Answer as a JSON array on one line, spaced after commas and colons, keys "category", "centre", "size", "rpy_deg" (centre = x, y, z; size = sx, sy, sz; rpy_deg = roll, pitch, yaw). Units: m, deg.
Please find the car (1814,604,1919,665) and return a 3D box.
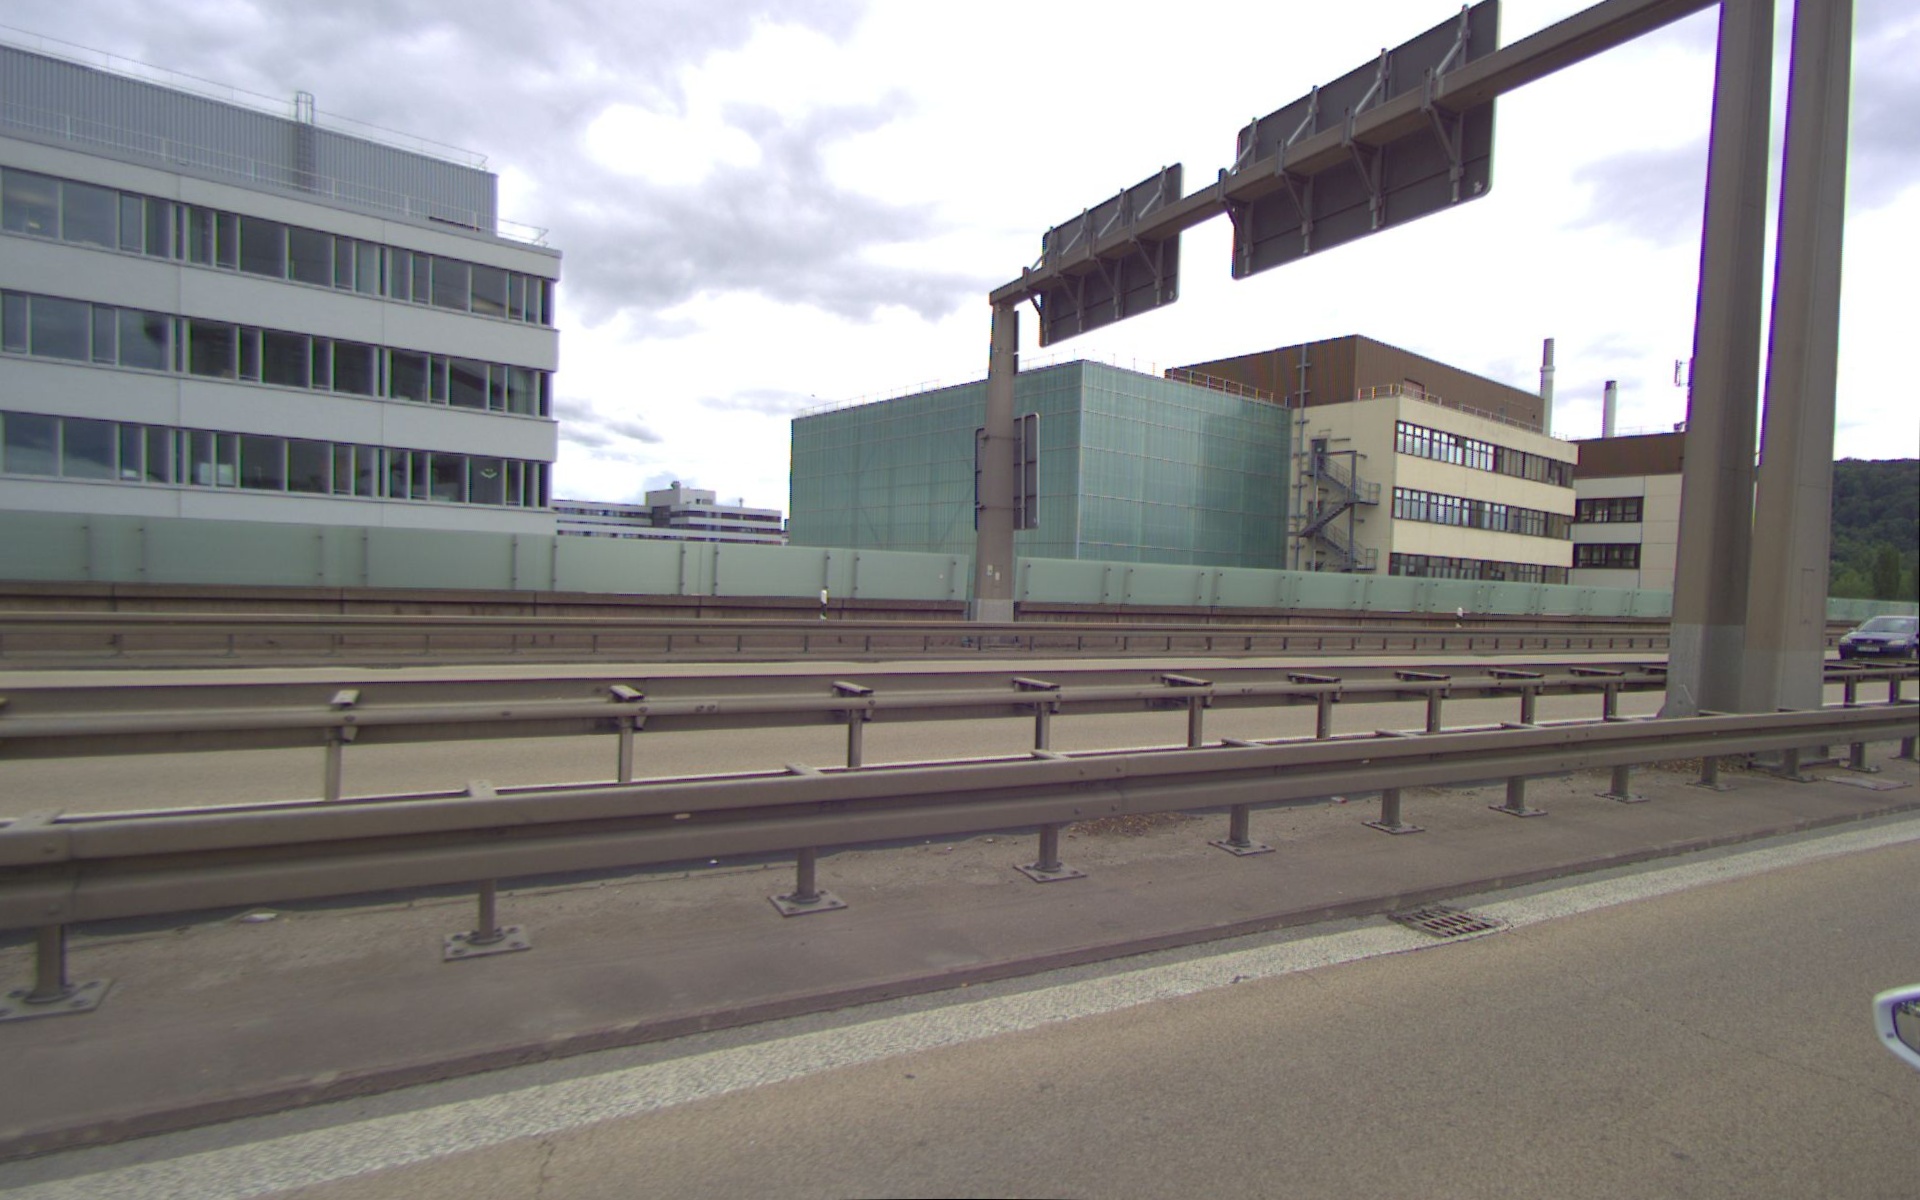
[{"category": "car", "centre": [28.098, 1.035, 30.486], "size": [4.357, 1.697, 1.984], "rpy_deg": [2, 0, -31]}]
